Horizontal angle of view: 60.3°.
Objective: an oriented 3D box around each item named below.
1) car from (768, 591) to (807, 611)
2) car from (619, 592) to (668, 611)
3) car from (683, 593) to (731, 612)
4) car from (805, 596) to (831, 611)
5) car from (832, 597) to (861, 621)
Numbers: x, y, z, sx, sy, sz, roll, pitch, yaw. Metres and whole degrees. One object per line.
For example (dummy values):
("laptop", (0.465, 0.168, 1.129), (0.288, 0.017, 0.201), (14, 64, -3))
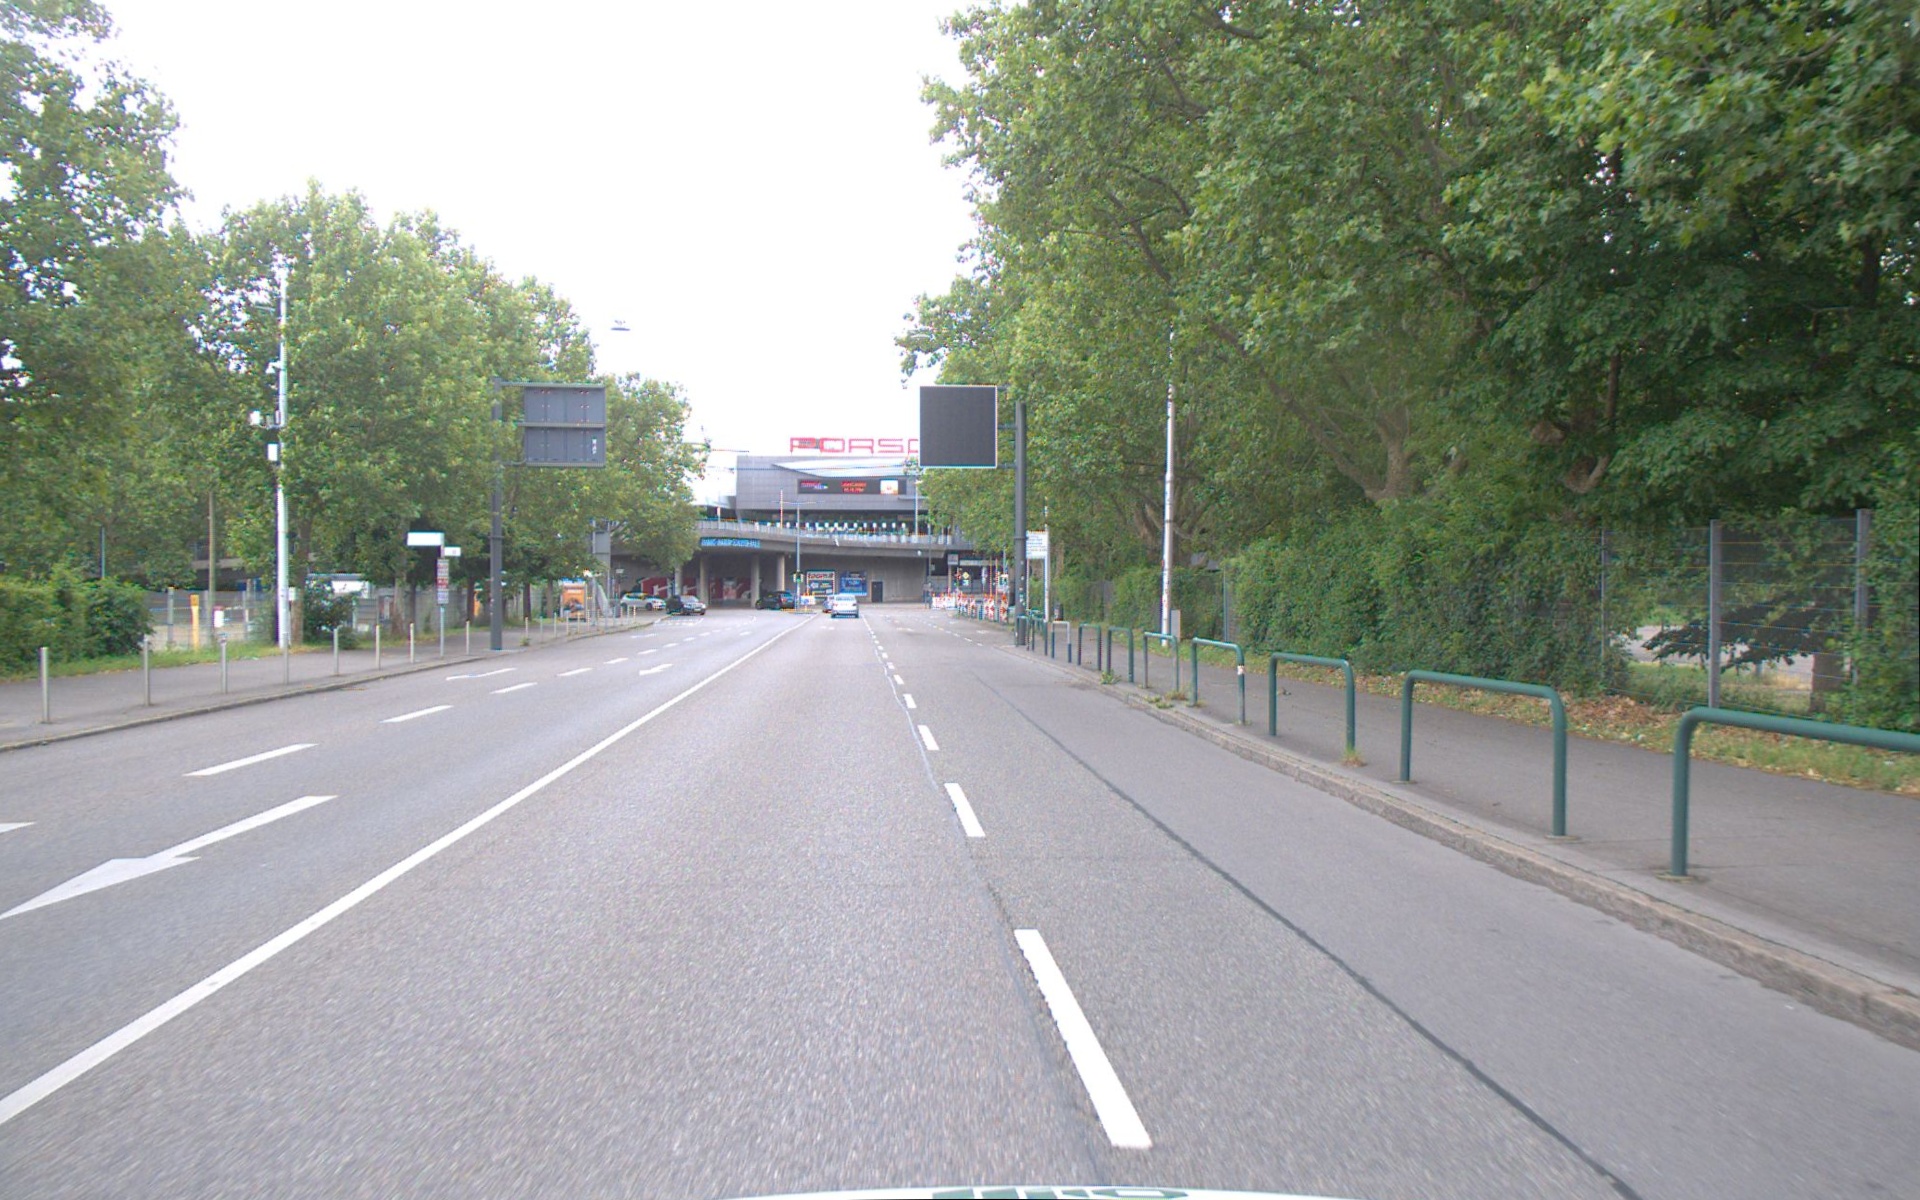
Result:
("car", (-14.972, 0.078, 143.547), (1.985, 1.728, 4.032), (0, 0, -28))
("car", (-26.450, 0.124, 138.306), (3.790, 1.606, 1.626), (0, 0, 22))
("car", (-18.672, 0.203, 122.144), (3.520, 1.295, 1.651), (2, 0, 42))
("car", (-11.308, 0.277, 131.341), (1.389, 1.132, 3.023), (2, 0, -17))
("car", (-7.445, 0.569, 108.647), (1.743, 1.486, 3.820), (2, 0, -3))
